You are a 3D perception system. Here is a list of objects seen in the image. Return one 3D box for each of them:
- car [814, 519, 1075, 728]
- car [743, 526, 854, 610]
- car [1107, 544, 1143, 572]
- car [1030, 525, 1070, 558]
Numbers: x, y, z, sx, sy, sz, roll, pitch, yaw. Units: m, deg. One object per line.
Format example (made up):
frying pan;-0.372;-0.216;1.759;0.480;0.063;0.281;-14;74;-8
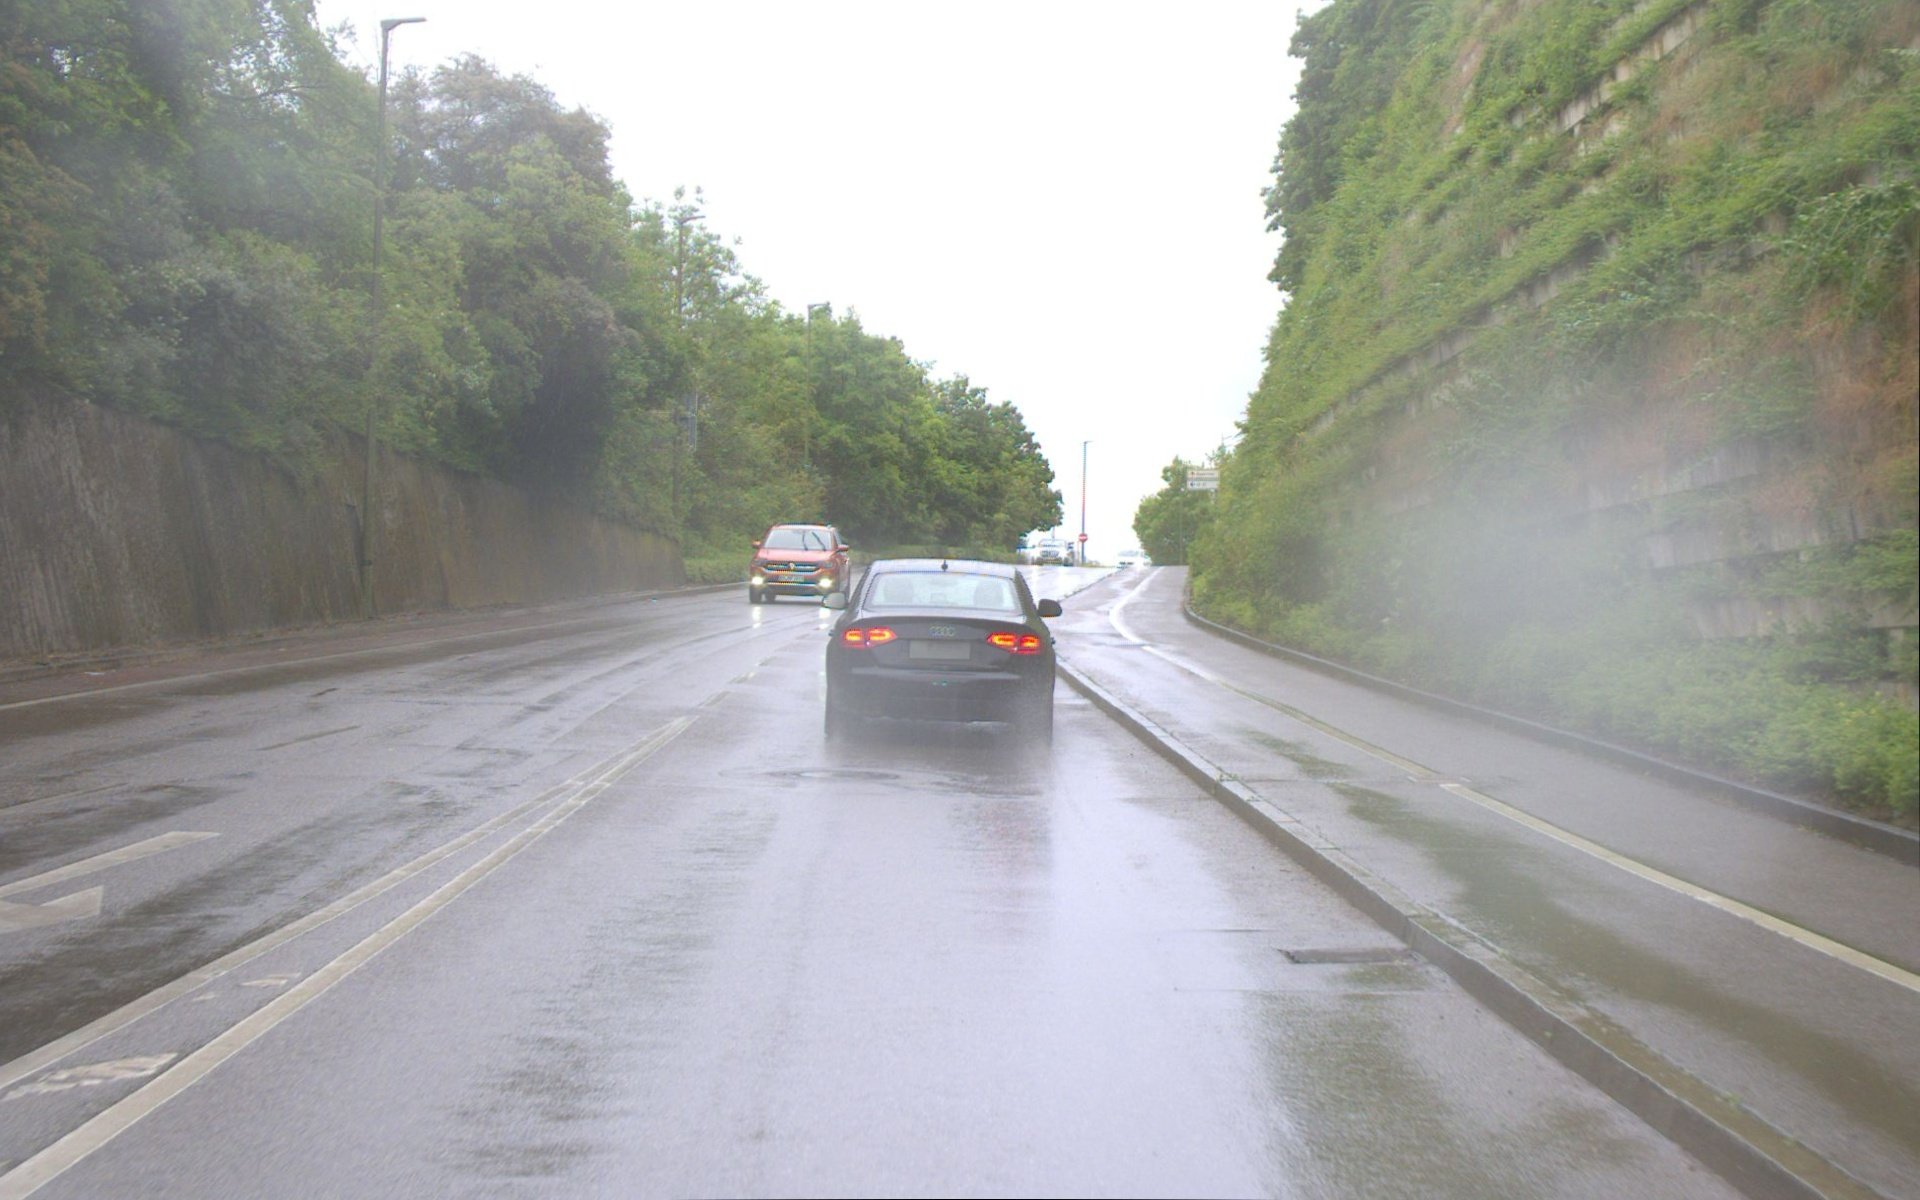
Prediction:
car;-0.064;0.176;27.595;1.893;1.487;4.207;-2;0;1
car;-3.210;-0.641;68.877;1.733;1.612;3.999;1;1;4
car;9.678;-2.453;200.988;1.823;1.609;4.092;1;1;6
car;4.392;-2.856;167.902;1.865;1.444;4.377;-1;-1;2
